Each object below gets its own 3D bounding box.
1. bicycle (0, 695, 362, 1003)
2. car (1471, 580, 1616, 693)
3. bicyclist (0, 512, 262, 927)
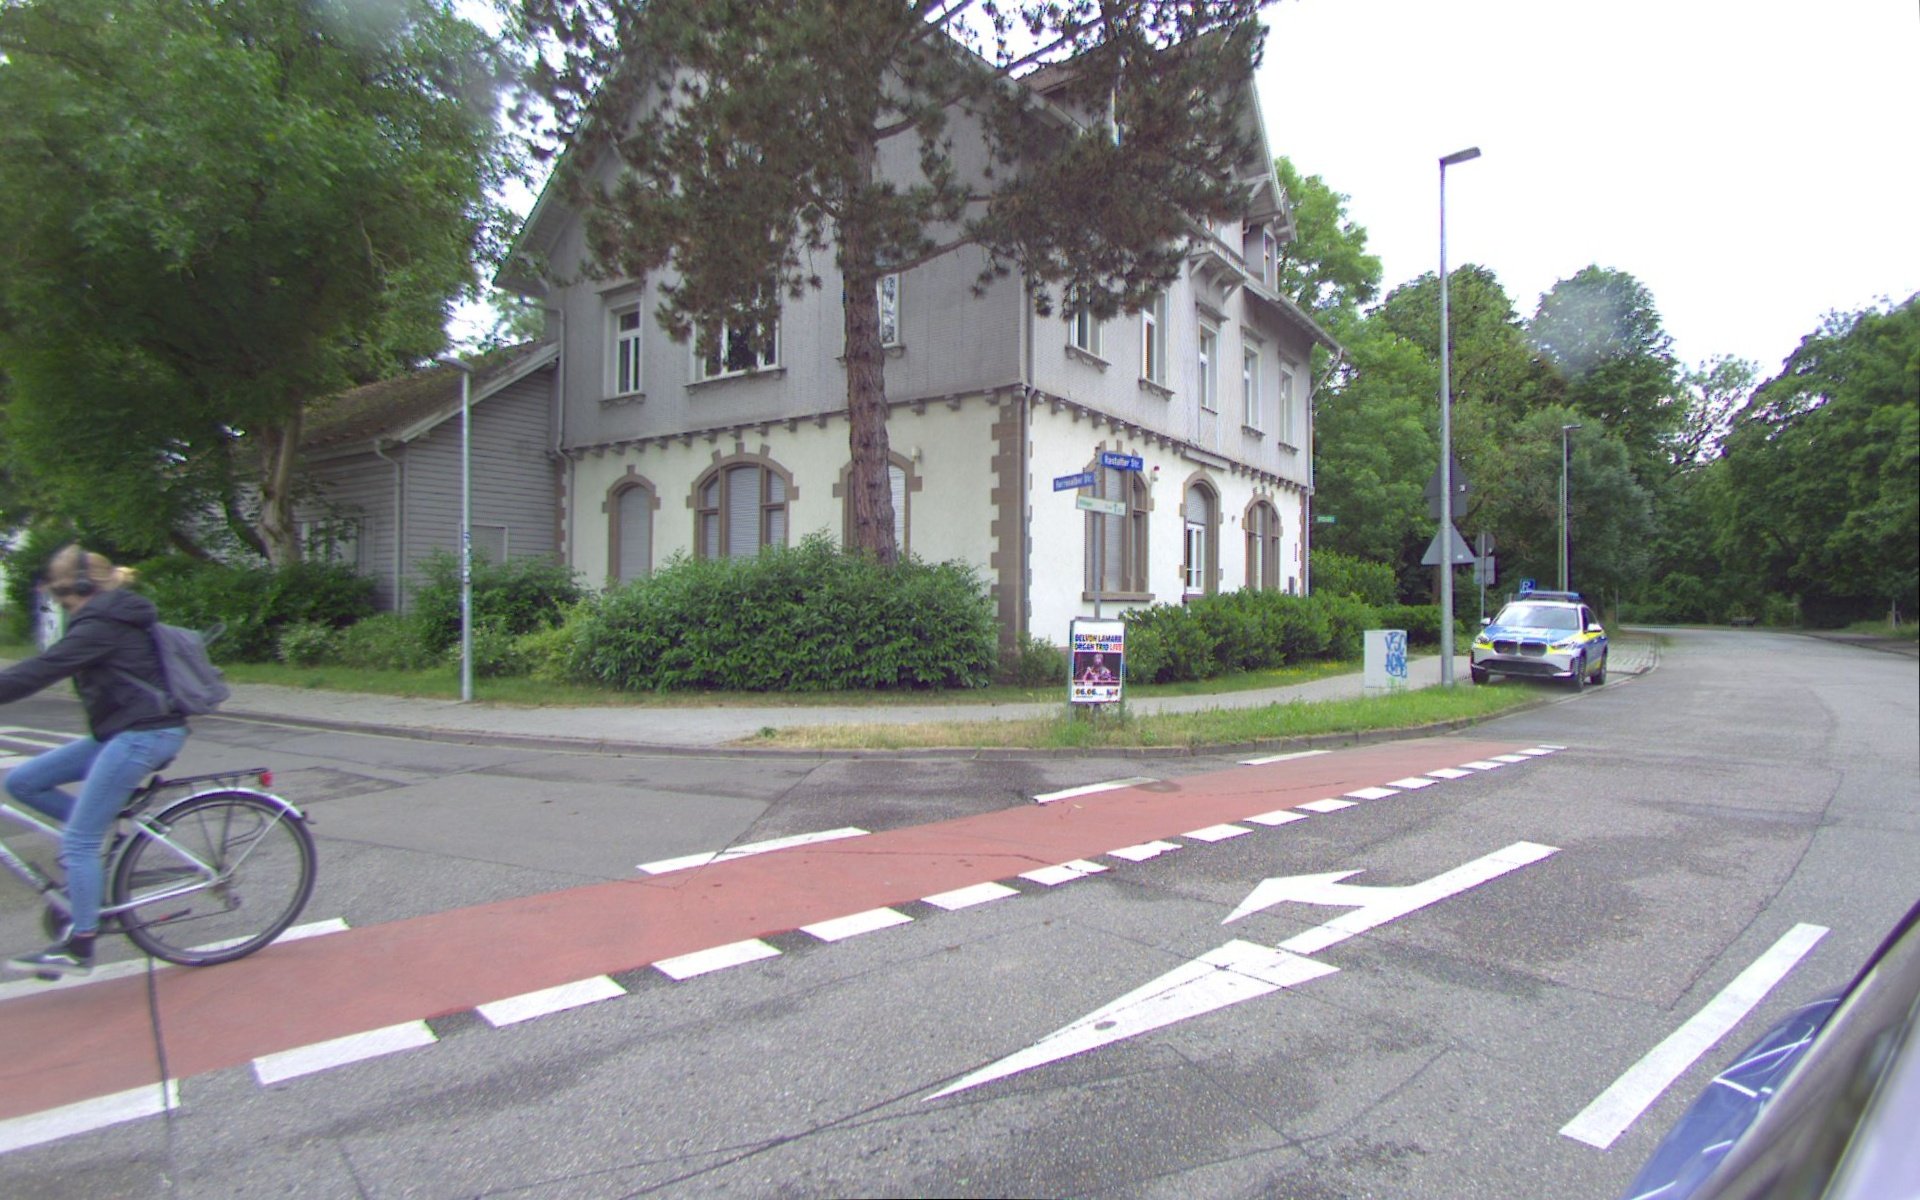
[{"bbox_3d":[-3.464,0.947,3.870,1.994,0.993,0.383,-1,0,-41],"label":"bicycle"},{"bbox_3d":[11.306,0.613,19.485,1.926,1.873,3.947,3,1,37],"label":"car"},{"bbox_3d":[-3.342,0.430,3.955,0.945,1.443,0.622,0,-4,-41],"label":"bicyclist"}]
